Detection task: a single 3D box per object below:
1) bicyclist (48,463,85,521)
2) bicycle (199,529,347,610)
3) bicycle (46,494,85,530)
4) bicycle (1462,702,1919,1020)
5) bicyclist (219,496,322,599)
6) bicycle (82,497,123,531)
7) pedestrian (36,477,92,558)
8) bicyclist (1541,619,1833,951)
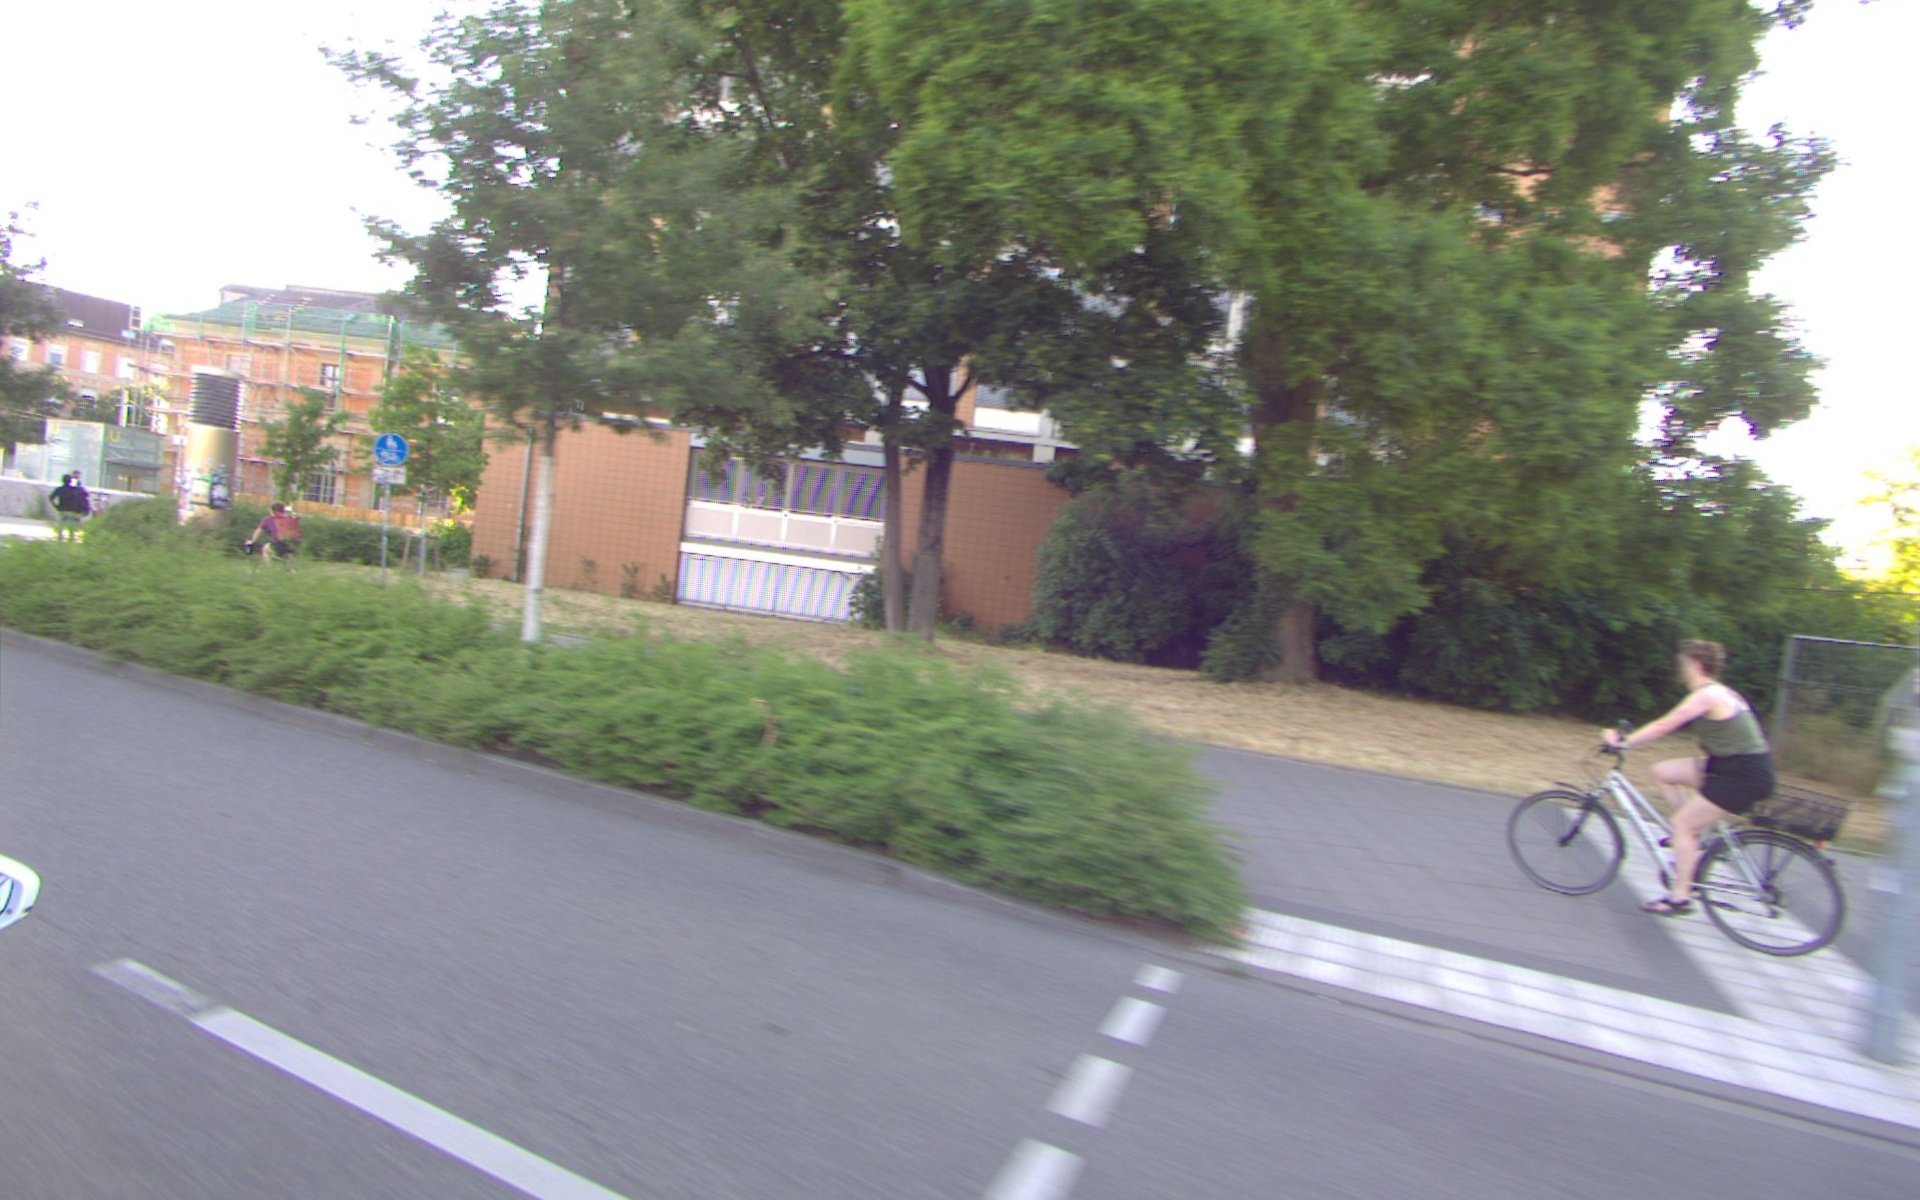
[{"bbox_3d":[-29.393,-3.545,33.095,0.882,1.810,0.784,7,3,44],"label":"bicyclist"},{"bbox_3d":[-10.263,-0.459,15.017,2.209,0.964,0.722,6,-1,25],"label":"bicycle"},{"bbox_3d":[-29.481,-2.917,33.159,1.937,1.052,0.787,6,2,44],"label":"bicycle"},{"bbox_3d":[4.380,1.386,6.010,0.773,1.172,2.267,3,4,-37],"label":"bicycle"},{"bbox_3d":[-10.313,-0.779,15.056,1.056,1.401,0.722,6,0,25],"label":"bicyclist"},{"bbox_3d":[-28.990,-2.897,34.030,0.621,1.052,1.948,4,2,-29],"label":"bicycle"},{"bbox_3d":[-19.952,-1.841,22.394,0.803,1.680,0.780,5,2,-45],"label":"pedestrian"},{"bbox_3d":[4.355,1.033,6.075,0.773,1.700,1.082,3,4,-37],"label":"bicyclist"}]
